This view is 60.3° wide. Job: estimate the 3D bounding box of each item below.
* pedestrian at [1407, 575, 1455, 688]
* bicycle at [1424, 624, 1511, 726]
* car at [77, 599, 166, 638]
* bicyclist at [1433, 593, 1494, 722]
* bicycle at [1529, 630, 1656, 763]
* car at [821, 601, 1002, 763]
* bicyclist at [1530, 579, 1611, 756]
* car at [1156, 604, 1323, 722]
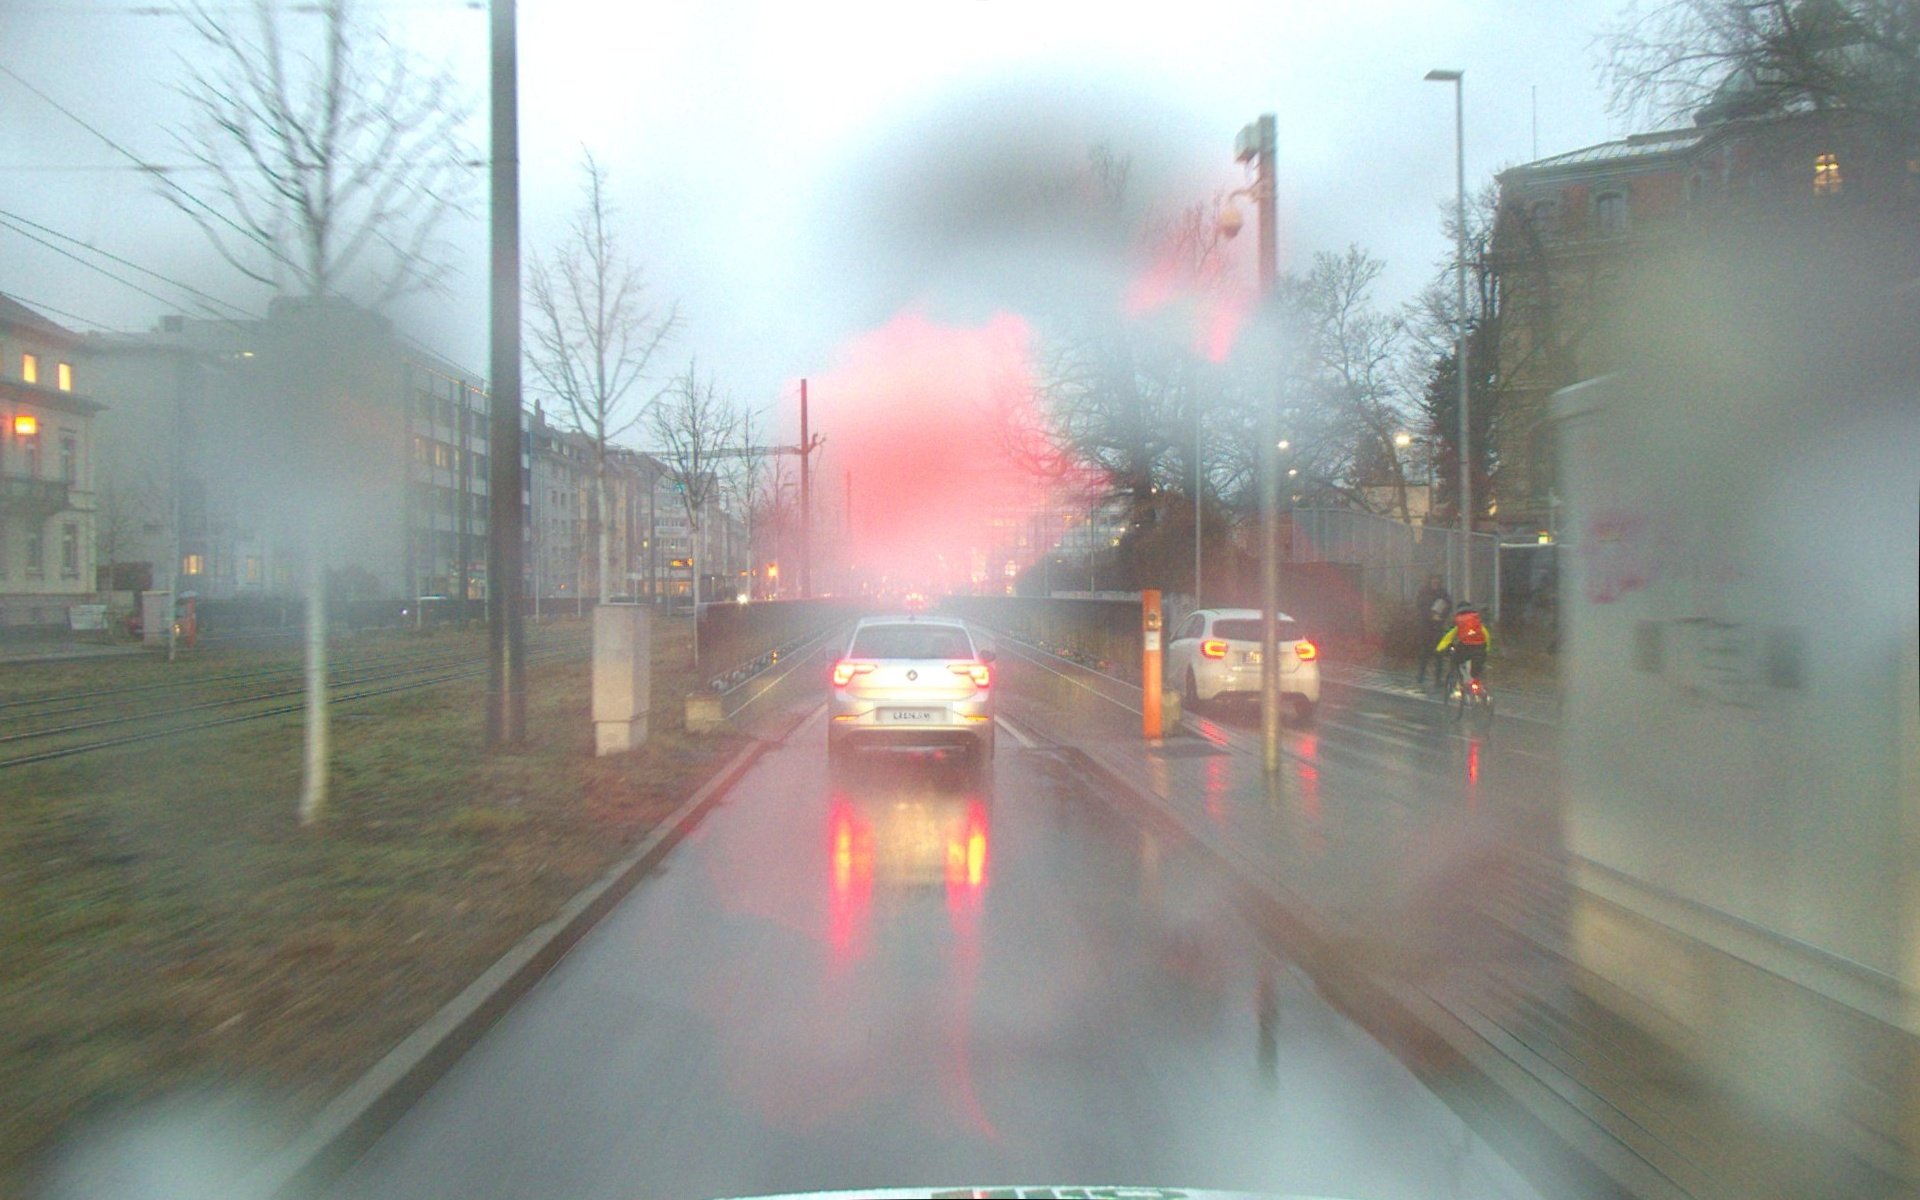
[{"bbox_3d":[8.134,0.527,28.572,0.521,1.912,0.900,-1,0,-3],"label":"pedestrian"},{"bbox_3d":[6.486,0.929,21.222,0.403,1.206,1.947,-1,0,-3],"label":"bicycle"},{"bbox_3d":[-33.870,0.735,66.926,1.770,1.461,3.924,-1,1,-4],"label":"car"},{"bbox_3d":[6.484,0.722,21.317,0.490,1.619,0.836,-1,0,-3],"label":"bicyclist"},{"bbox_3d":[6.391,0.938,16.811,0.403,1.206,2.028,-1,0,-3],"label":"bicycle"},{"bbox_3d":[-0.465,0.797,17.784,1.687,1.505,4.000,1,0,0],"label":"car"},{"bbox_3d":[6.360,0.682,17.265,0.490,1.798,0.836,-1,0,-3],"label":"bicyclist"},{"bbox_3d":[3.919,0.843,23.779,1.687,1.505,3.999,1,0,0],"label":"car"}]
